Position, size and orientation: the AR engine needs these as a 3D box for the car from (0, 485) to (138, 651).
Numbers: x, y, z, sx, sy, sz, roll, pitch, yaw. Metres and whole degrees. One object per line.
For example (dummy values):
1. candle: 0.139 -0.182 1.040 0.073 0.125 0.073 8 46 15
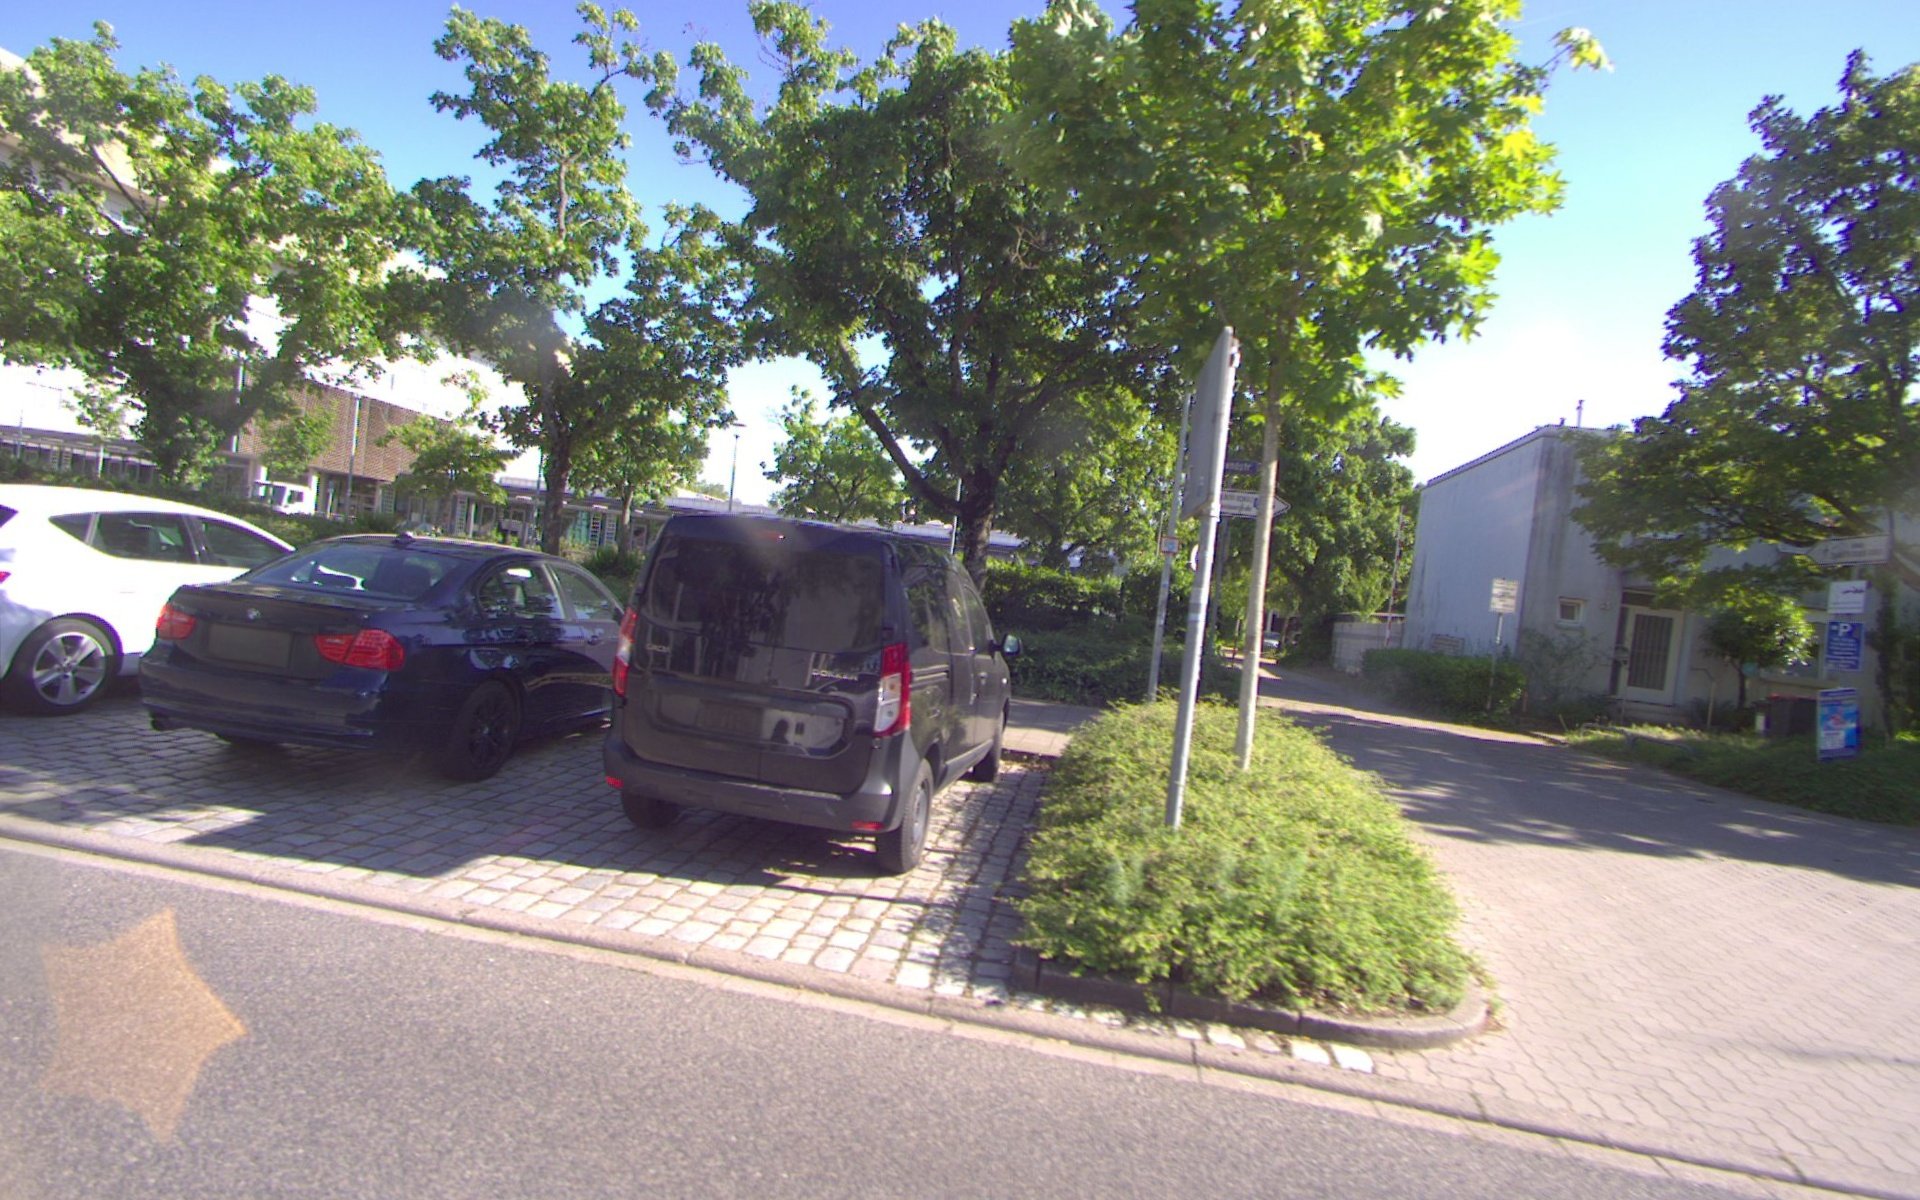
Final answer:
1. car: -9.243 -0.365 8.104 1.640 1.444 3.912 6 1 8

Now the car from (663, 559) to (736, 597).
1. car: -12.629 -1.056 49.004 1.807 1.517 3.907 7 1 12

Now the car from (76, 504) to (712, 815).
1. car: -3.533 0.276 7.351 1.794 1.424 4.166 7 2 8

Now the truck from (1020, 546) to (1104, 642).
1. truck: 4.951 -0.215 47.622 2.758 3.855 6.925 8 1 12

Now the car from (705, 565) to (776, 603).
1. car: -10.577 -0.756 48.744 1.807 1.517 3.907 7 1 12

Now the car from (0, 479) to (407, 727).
1. car: -6.462 -0.080 7.734 1.774 1.455 3.910 7 2 8

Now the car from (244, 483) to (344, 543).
1. car: -34.415 -4.460 52.076 2.190 2.523 3.645 7 1 12

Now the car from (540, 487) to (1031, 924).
1. car: -0.745 0.469 6.887 1.844 1.871 4.166 7 2 10
